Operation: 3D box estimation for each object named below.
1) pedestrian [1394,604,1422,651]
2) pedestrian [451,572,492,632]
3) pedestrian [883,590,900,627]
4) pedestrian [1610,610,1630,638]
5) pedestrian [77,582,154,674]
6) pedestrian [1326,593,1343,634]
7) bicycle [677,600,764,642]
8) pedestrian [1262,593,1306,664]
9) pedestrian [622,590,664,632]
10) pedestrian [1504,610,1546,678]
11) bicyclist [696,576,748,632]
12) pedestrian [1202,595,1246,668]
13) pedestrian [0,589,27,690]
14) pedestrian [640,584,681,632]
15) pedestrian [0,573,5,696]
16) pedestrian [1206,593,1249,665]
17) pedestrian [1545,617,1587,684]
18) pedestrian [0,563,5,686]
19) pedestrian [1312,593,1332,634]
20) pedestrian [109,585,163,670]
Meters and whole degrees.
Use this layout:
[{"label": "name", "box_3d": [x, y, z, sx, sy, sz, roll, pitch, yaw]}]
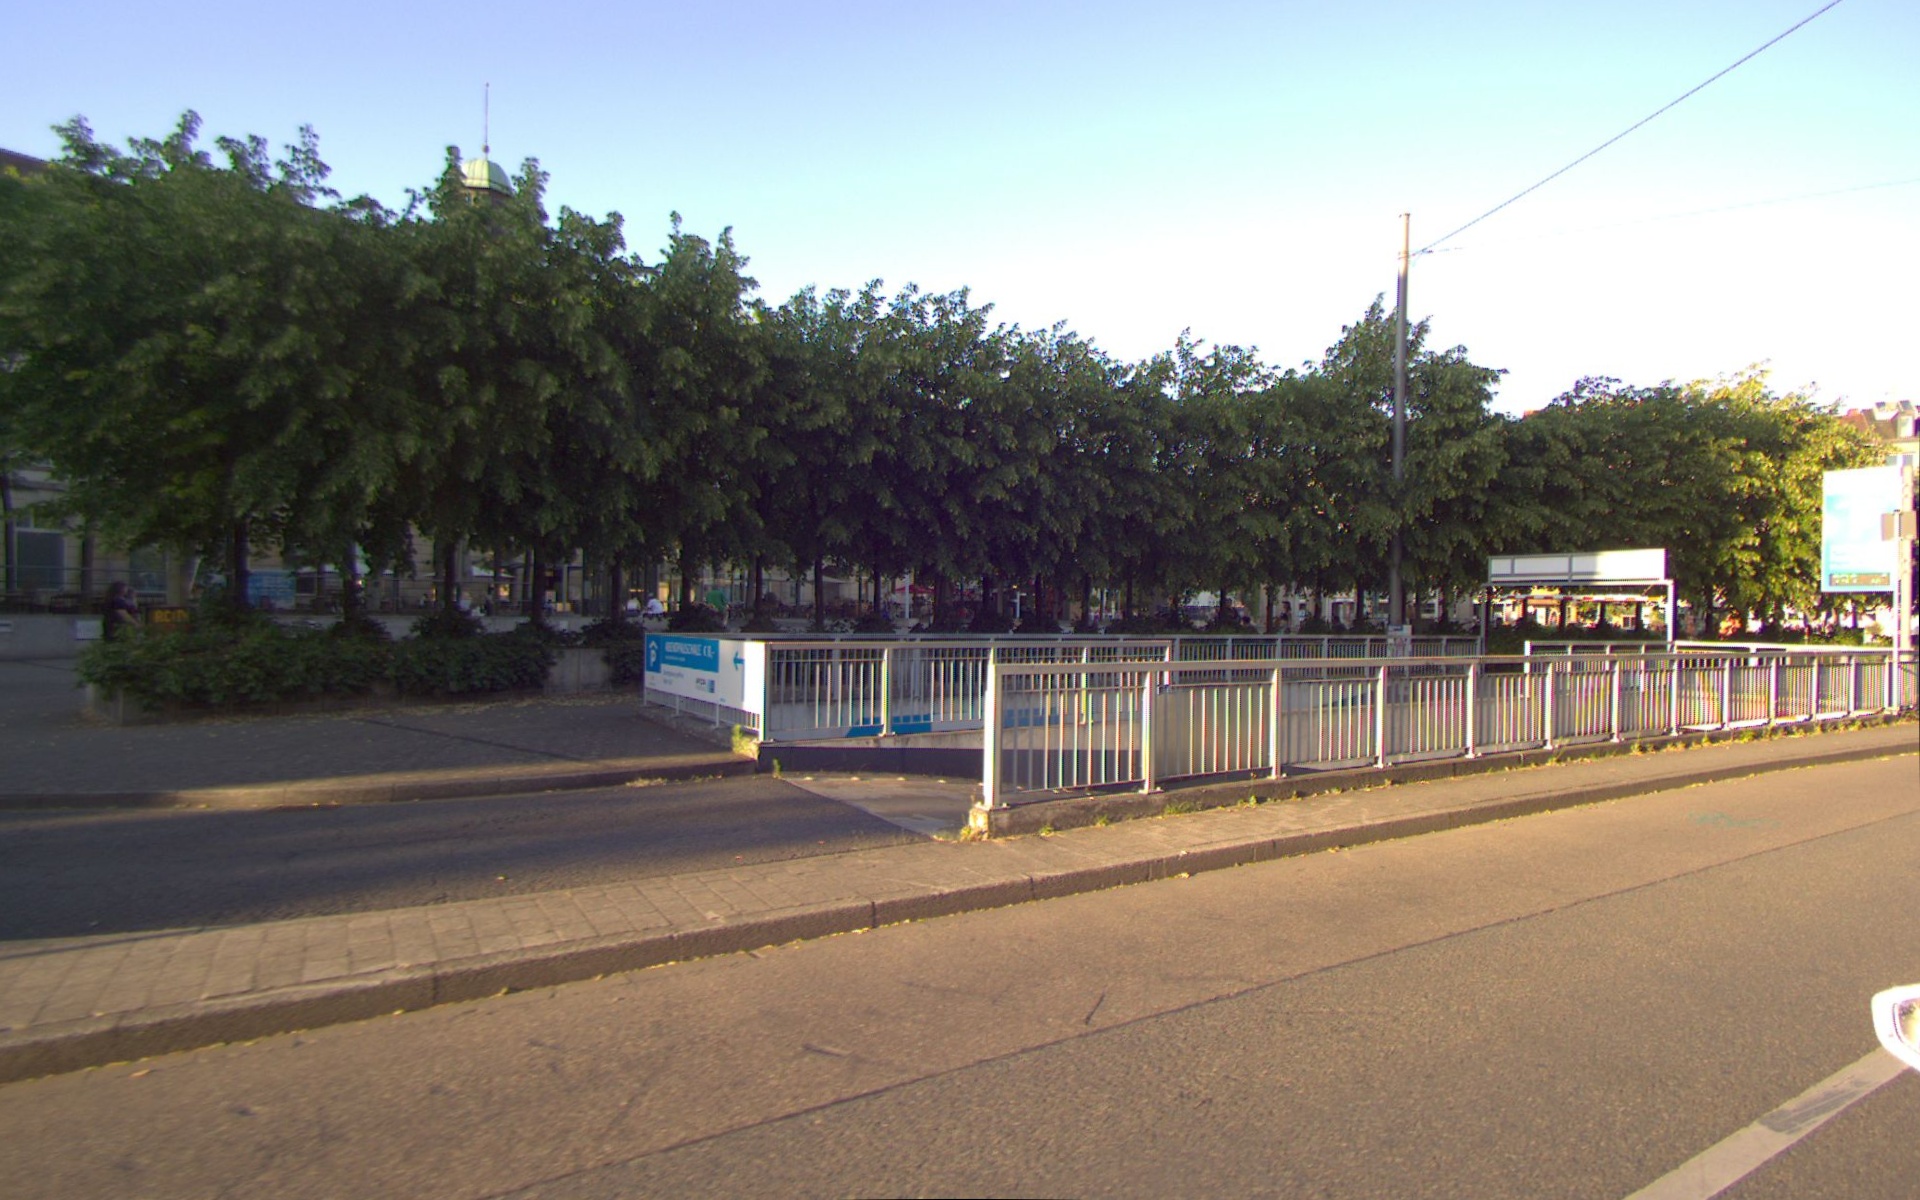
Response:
[{"label": "pedestrian", "box_3d": [19.038, 1.172, 42.650, 0.720, 1.974, 0.800, 1, 0, -23]}, {"label": "pedestrian", "box_3d": [-14.365, 0.058, 29.536, 0.905, 1.750, 0.701, 0, 0, 34]}, {"label": "pedestrian", "box_3d": [-3.624, 0.452, 53.065, 0.715, 1.974, 0.805, 1, 0, 6]}, {"label": "pedestrian", "box_3d": [42.034, 1.530, 63.999, 0.695, 1.801, 0.897, 1, 0, 7]}, {"label": "pedestrian", "box_3d": [-15.182, 0.486, 18.060, 0.716, 1.603, 0.798, 0, 1, 23]}, {"label": "pedestrian", "box_3d": [18.135, 0.641, 48.641, 0.716, 1.974, 0.805, 1, 0, 19]}, {"label": "bicycle", "box_3d": [-6.700, 0.573, 28.173, 0.936, 1.116, 2.320, 0, -1, 37]}, {"label": "pedestrian", "box_3d": [9.516, 0.823, 29.509, 0.902, 2.040, 0.913, 1, 0, -8]}, {"label": "pedestrian", "box_3d": [-10.829, 0.360, 34.319, 1.245, 1.398, 0.736, 0, 0, 31]}, {"label": "pedestrian", "box_3d": [16.799, 1.302, 29.878, 0.719, 1.974, 0.801, 1, 0, -18]}, {"label": "bicyclist", "box_3d": [-6.669, 0.121, 28.146, 1.360, 1.529, 0.750, 0, 0, 39]}, {"label": "pedestrian", "box_3d": [7.525, 0.883, 28.704, 0.902, 2.040, 0.913, 1, 0, -8]}, {"label": "pedestrian", "box_3d": [-14.553, 0.586, 14.965, 0.591, 1.506, 0.716, 0, 1, 7]}, {"label": "pedestrian", "box_3d": [-10.407, 0.274, 34.935, 1.245, 1.669, 0.706, 0, 0, 32]}, {"label": "pedestrian", "box_3d": [-14.209, 0.500, 14.212, 0.701, 1.769, 0.688, 0, 1, 6]}, {"label": "pedestrian", "box_3d": [7.801, 0.837, 29.332, 0.902, 2.040, 0.913, 1, 0, -8]}, {"label": "pedestrian", "box_3d": [18.430, 1.521, 30.545, 0.719, 1.974, 0.801, 1, 0, -18]}, {"label": "pedestrian", "box_3d": [-15.077, 0.377, 15.184, 0.705, 1.900, 0.776, -1, 1, -27]}, {"label": "pedestrian", "box_3d": [17.612, 0.635, 48.882, 0.790, 1.974, 0.686, 1, 0, 30]}, {"label": "pedestrian", "box_3d": [-15.403, 0.504, 18.790, 0.584, 1.563, 0.676, -1, 1, -23]}]
